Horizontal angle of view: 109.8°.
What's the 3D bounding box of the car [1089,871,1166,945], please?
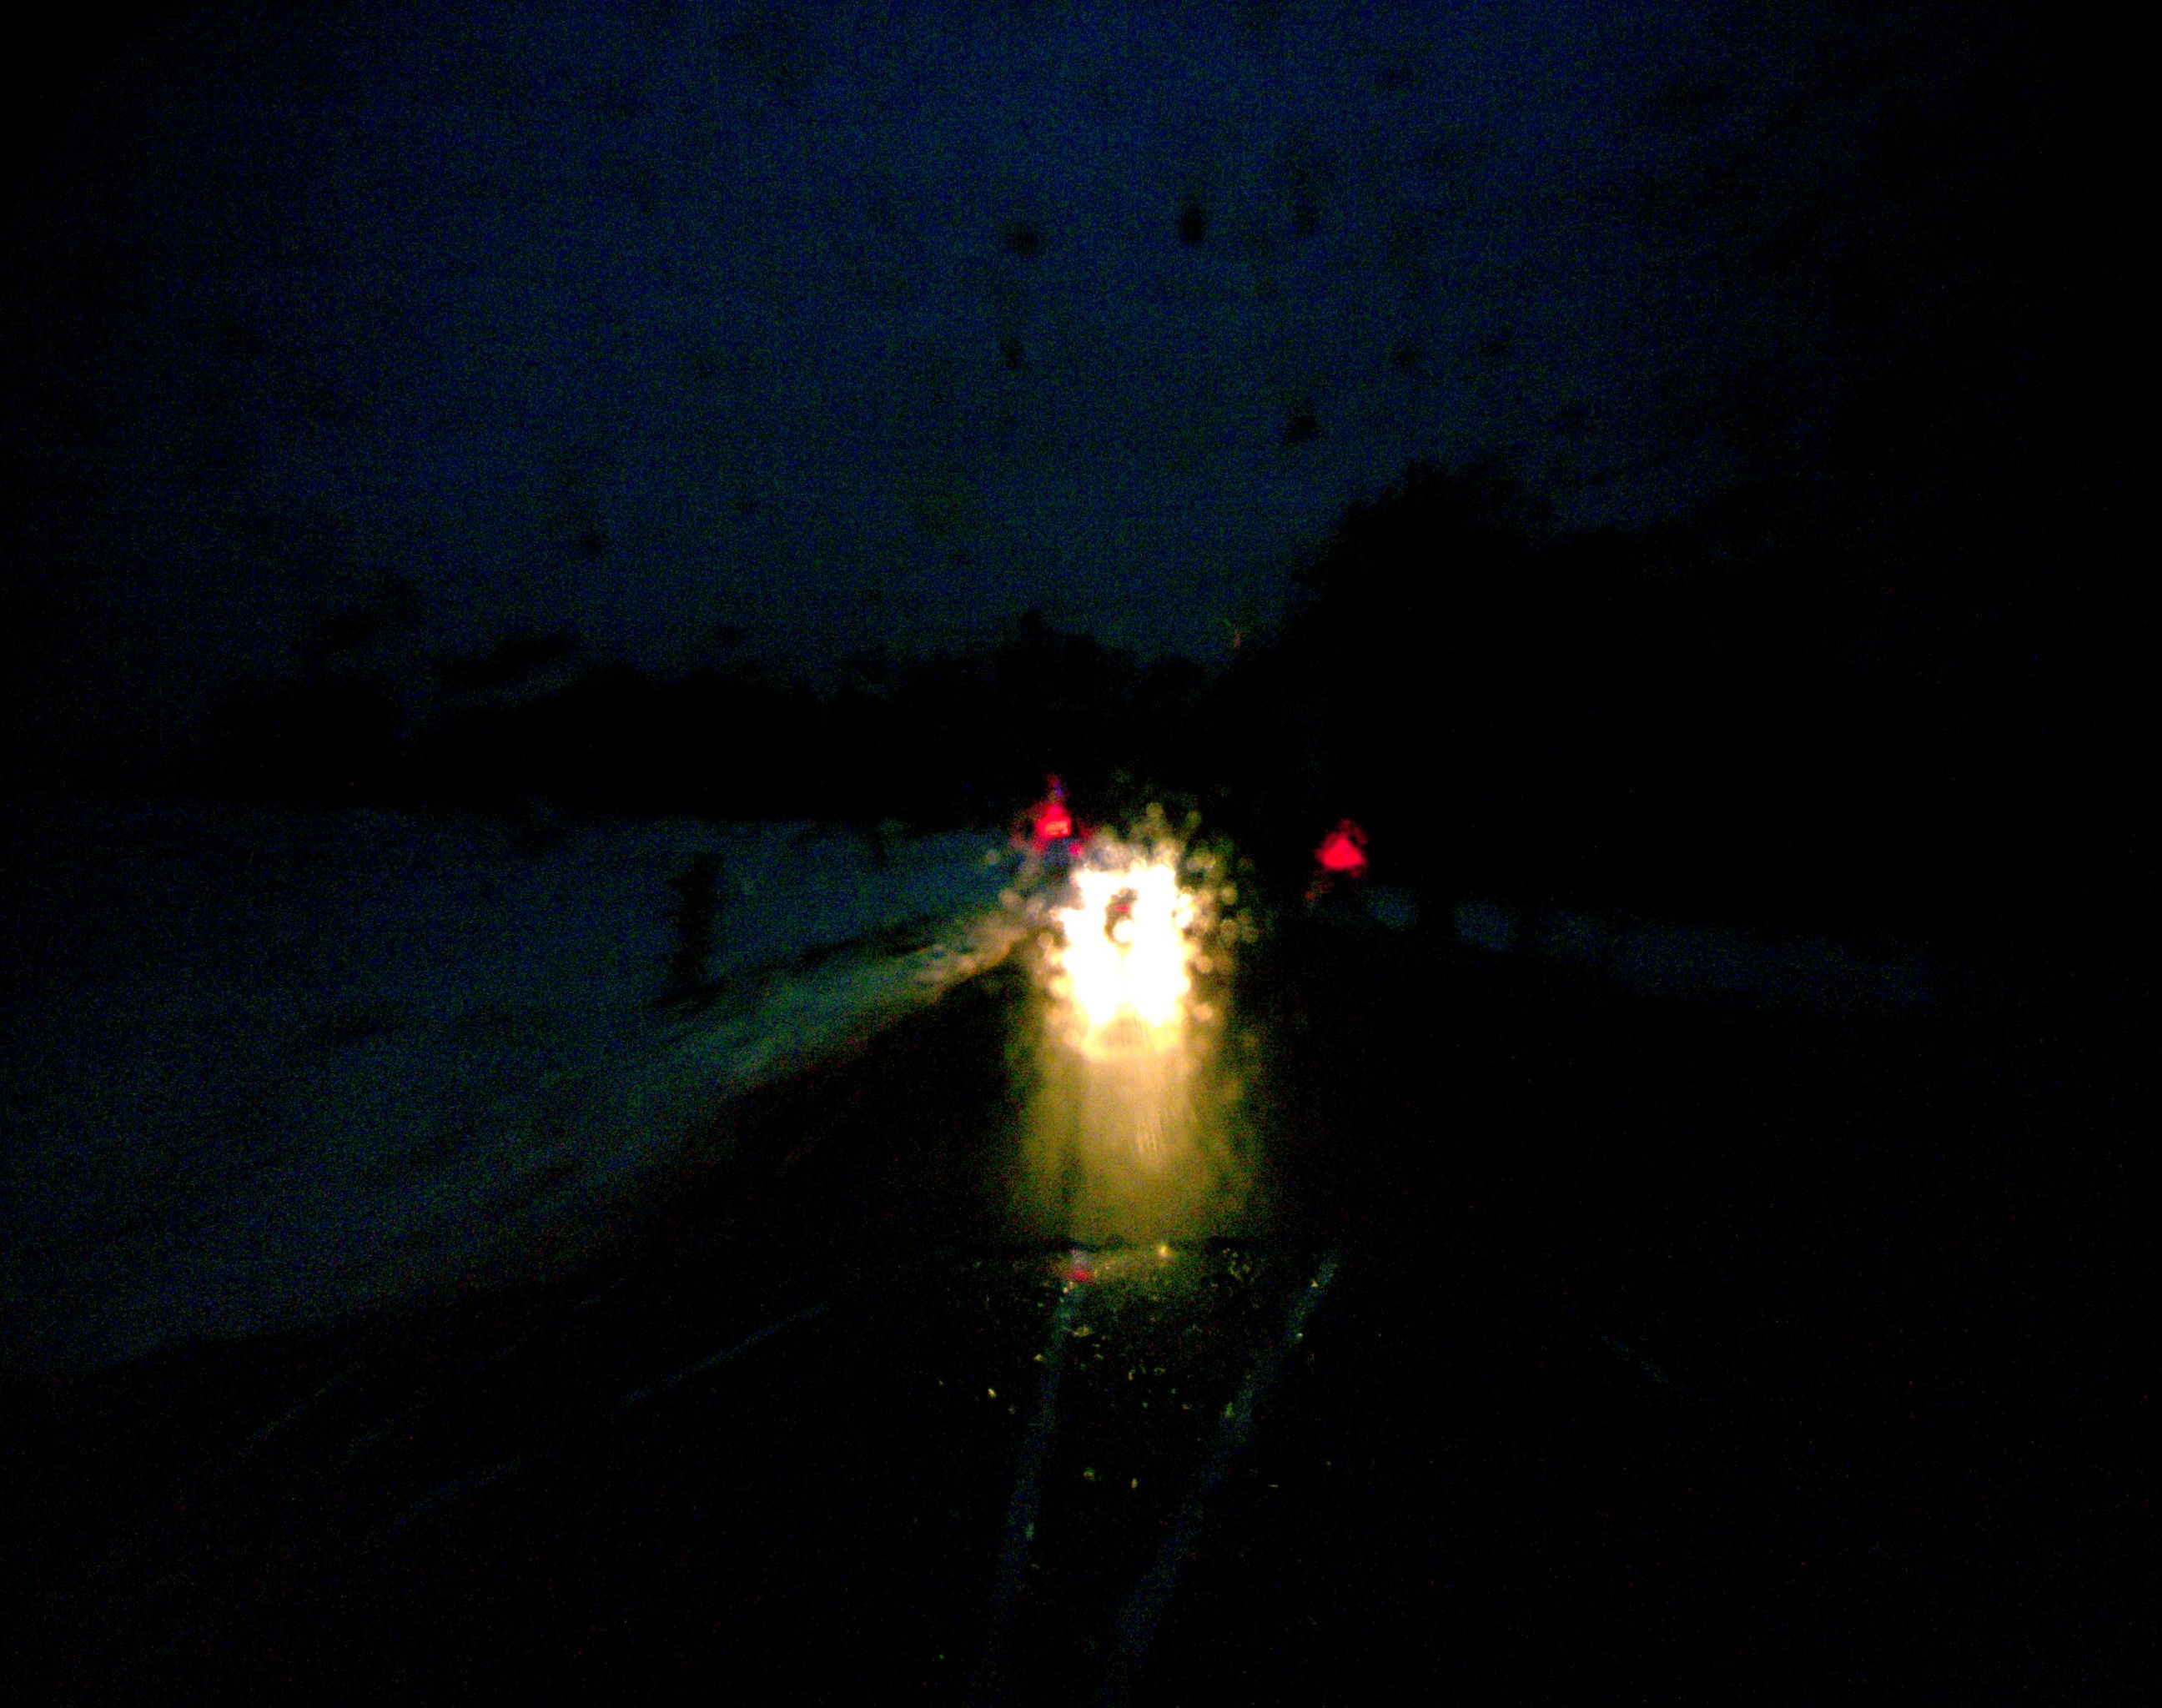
[{"bbox_3d":[1.133,1.214,18.424,1.649,1.446,3.681,1,1,4],"label":"car"}]
